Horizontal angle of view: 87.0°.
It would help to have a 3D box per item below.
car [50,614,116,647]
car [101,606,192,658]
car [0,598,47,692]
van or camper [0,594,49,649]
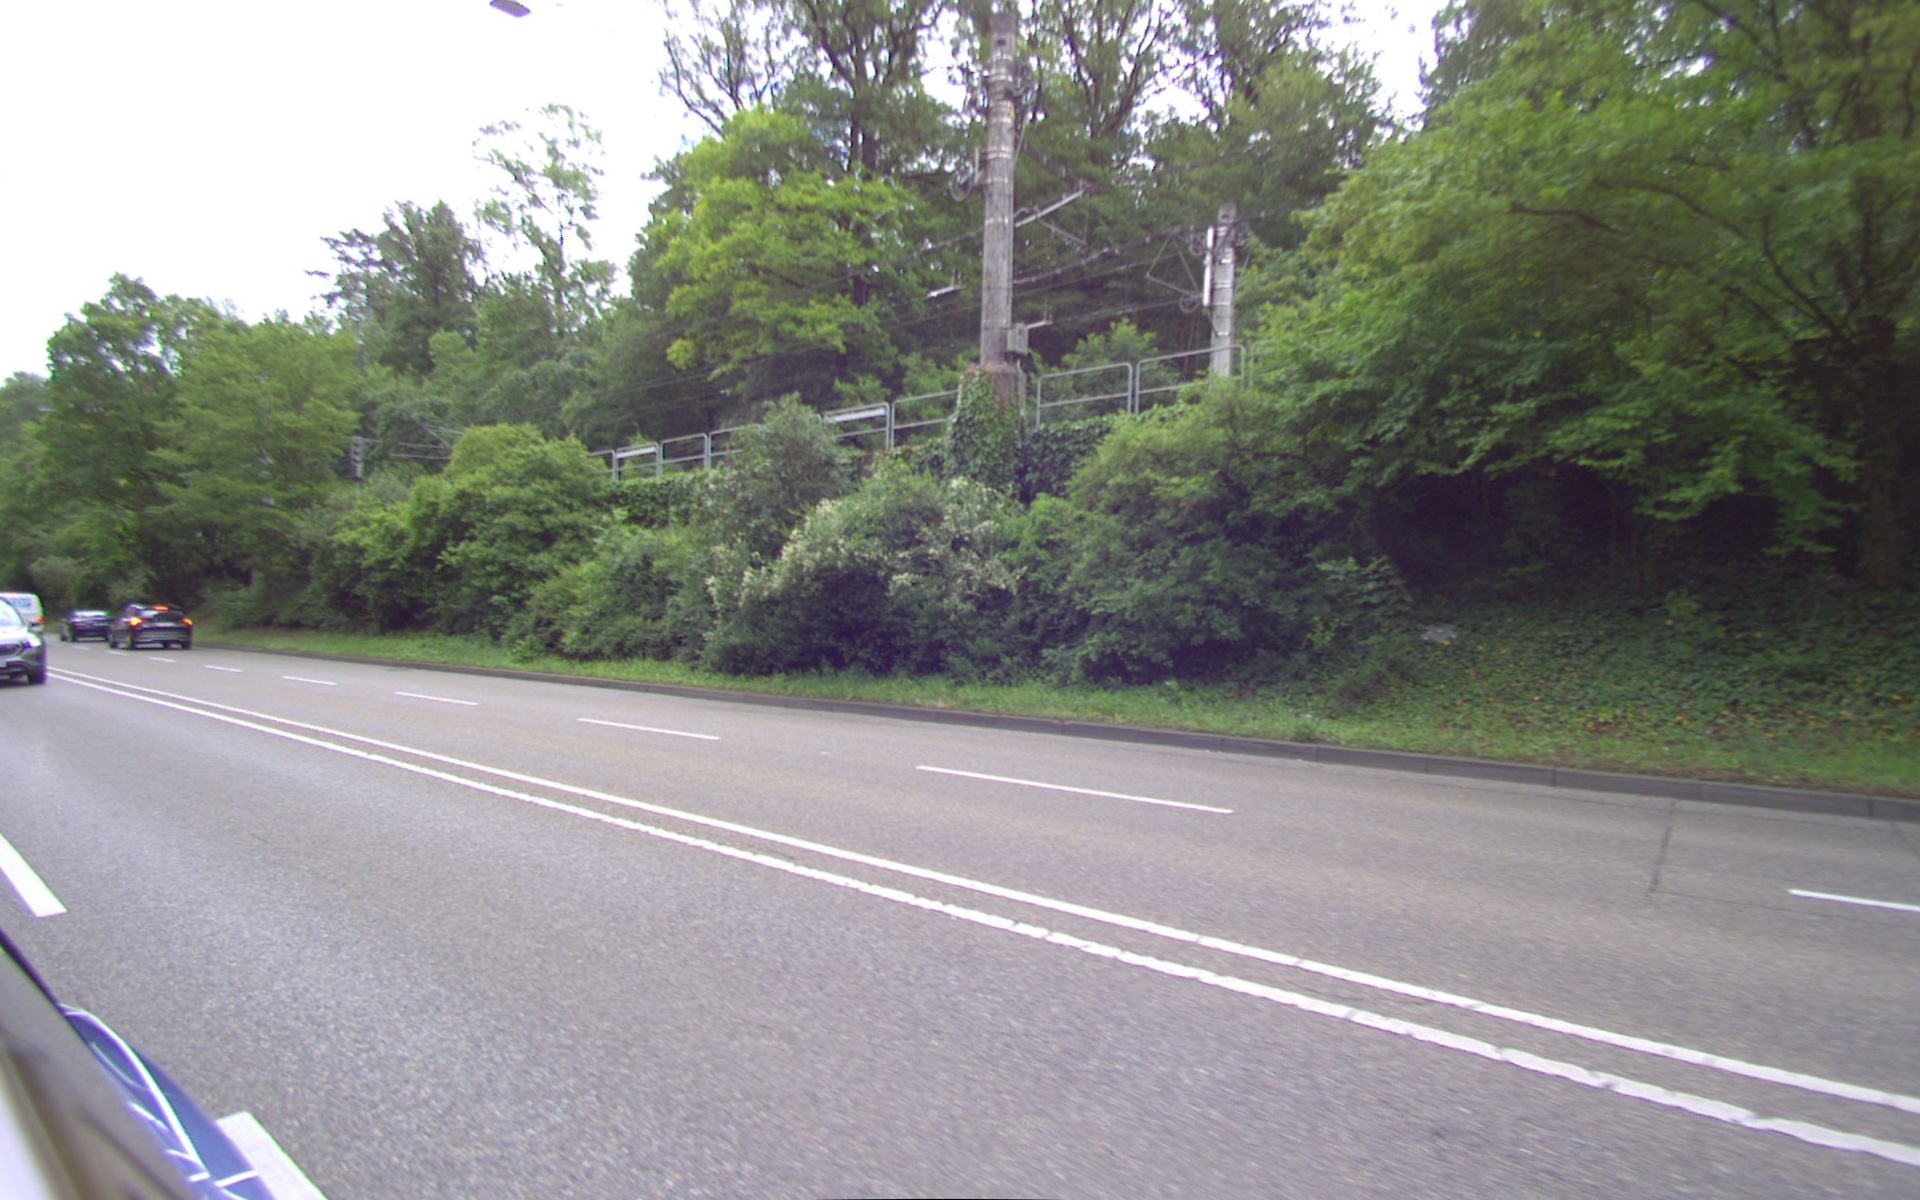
[{"bbox_3d":[-37.678,1.296,43.444,3.998,1.322,1.625,0,-1,41],"label":"car"},{"bbox_3d":[-28.227,1.079,35.089,4.066,1.608,1.718,2,0,41],"label":"car"},{"bbox_3d":[-19.112,0.842,19.378,4.190,1.675,1.848,0,2,40],"label":"car"},{"bbox_3d":[-37.274,0.828,39.309,5.363,2.029,1.973,0,-2,40],"label":"van or camper"}]
